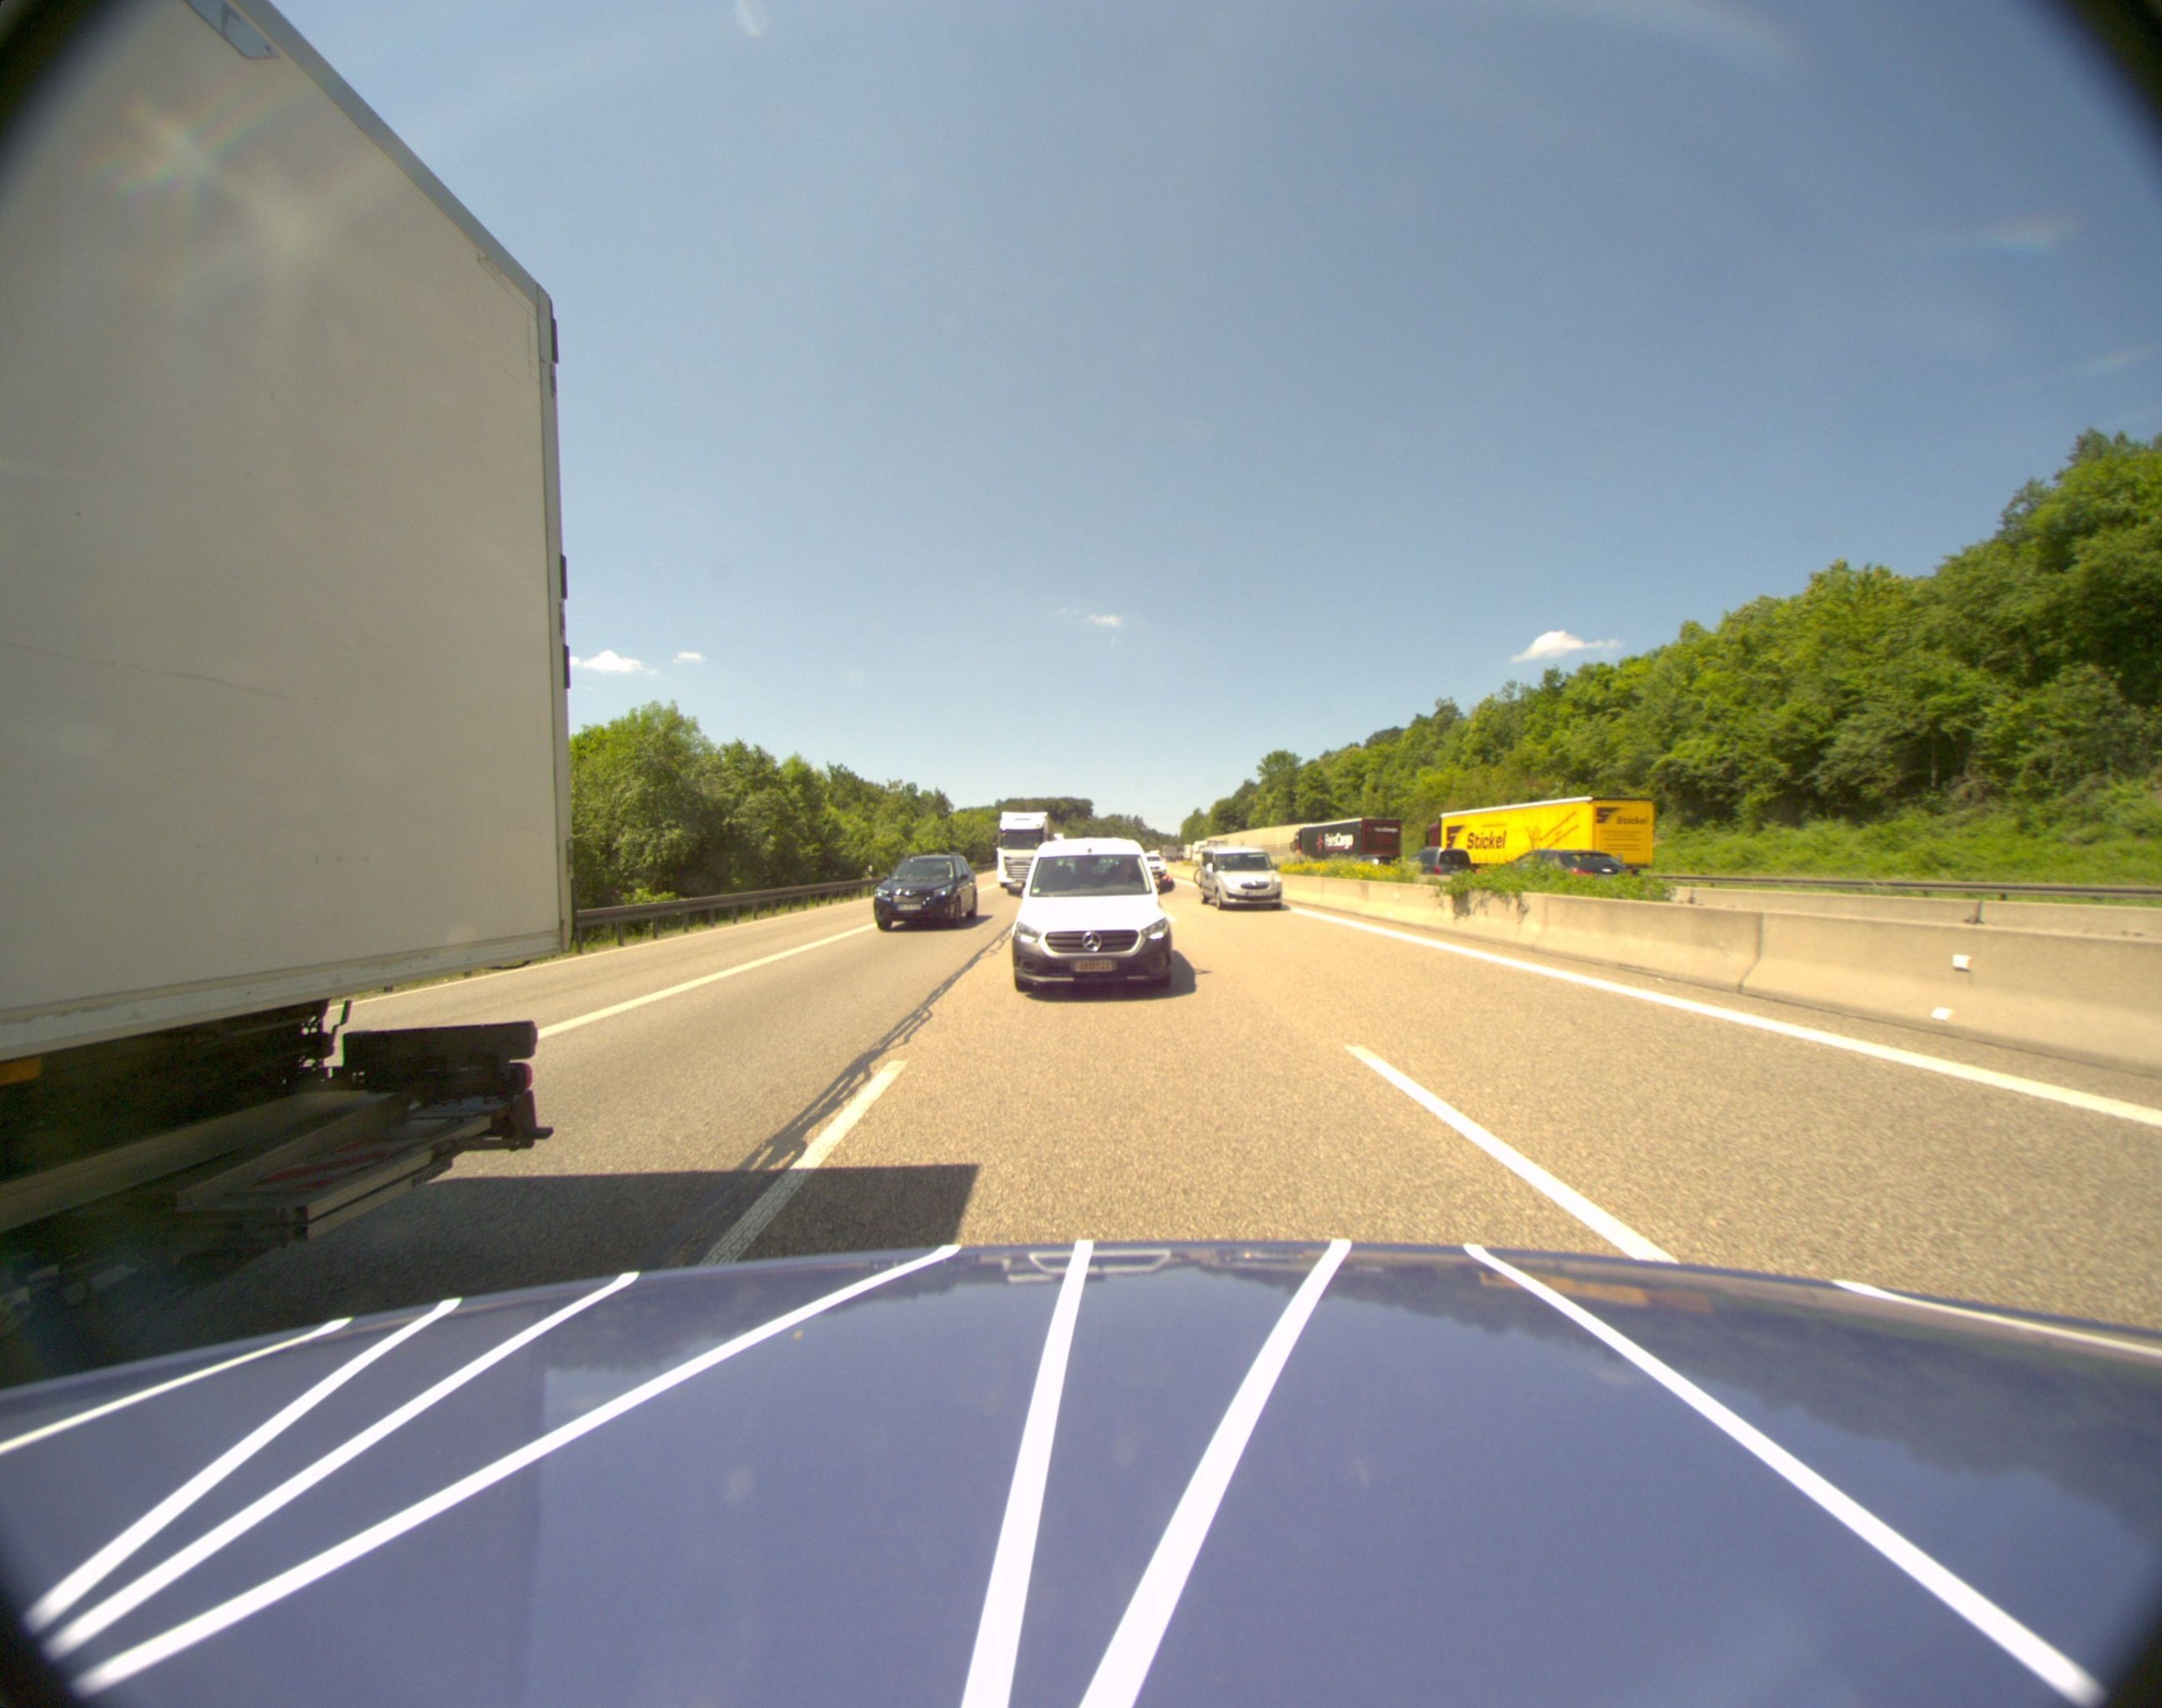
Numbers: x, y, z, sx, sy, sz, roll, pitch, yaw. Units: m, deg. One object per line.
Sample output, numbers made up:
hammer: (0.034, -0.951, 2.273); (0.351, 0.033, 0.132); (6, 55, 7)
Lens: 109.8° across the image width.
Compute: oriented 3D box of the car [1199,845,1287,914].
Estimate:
car: (4.609, 0.658, 22.163); (1.780, 1.833, 4.000); (0, 0, 1)

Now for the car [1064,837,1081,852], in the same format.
car: (-1.532, -1.734, 139.843); (2.721, 2.534, 5.941); (1, 1, 3)

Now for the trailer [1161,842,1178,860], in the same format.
trailer: (22.267, -0.859, 191.129); (2.842, 4.141, 14.737); (1, 1, 1)

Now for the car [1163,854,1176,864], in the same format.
car: (13.077, 0.732, 112.494); (1.567, 1.510, 4.000); (0, 0, 0)

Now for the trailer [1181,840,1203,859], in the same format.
trailer: (24.329, -0.983, 167.000); (2.814, 4.024, 12.624); (1, 1, 0)

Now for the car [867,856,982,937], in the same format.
car: (-3.635, 0.913, 18.405); (1.816, 1.658, 4.203); (-1, 0, 1)

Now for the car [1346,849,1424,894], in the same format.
car: (11.967, 0.626, 30.128); (1.646, 1.618, 3.543); (1, 1, 1)

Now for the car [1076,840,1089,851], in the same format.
car: (0.278, -2.064, 178.932); (2.721, 2.534, 5.941); (1, 1, 3)

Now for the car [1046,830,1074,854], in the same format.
car: (-2.354, -1.380, 87.079); (2.721, 2.534, 5.941); (1, 1, 3)

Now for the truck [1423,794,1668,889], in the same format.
truck: (23.112, -0.643, 39.953); (3.045, 3.960, 16.263); (0, 1, 1)

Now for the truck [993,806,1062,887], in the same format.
truck: (-2.943, -0.442, 47.390); (2.790, 4.145, 16.267); (-1, 0, 1)

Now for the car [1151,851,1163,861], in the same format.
car: (14.475, 0.351, 144.785); (1.888, 1.745, 4.787); (-1, 0, 0)

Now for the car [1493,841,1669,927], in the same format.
car: (13.054, 0.688, 20.197); (1.998, 2.002, 3.999); (1, 1, 1)

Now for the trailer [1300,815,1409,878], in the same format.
trailer: (19.353, -0.607, 55.200); (2.913, 3.951, 13.886); (1, 1, 0)

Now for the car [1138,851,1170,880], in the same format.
car: (4.964, 0.757, 51.889); (1.998, 1.827, 4.001); (1, 1, 3)

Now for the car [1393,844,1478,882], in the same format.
car: (15.616, 0.352, 33.734); (1.689, 1.549, 4.421); (1, 1, 1)

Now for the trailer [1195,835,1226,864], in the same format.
trailer: (20.415, -0.816, 120.895); (2.810, 4.313, 14.035); (1, 1, 1)

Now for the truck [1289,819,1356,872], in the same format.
truck: (19.434, -0.722, 61.603); (2.913, 3.951, 7.767); (1, 1, 0)

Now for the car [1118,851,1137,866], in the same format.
car: (5.699, 0.551, 93.179); (1.998, 1.783, 4.000); (-1, 0, 0)

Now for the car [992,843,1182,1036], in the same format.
car: (0.126, 0.786, 9.189); (1.729, 1.760, 4.313); (-1, 0, 2)
